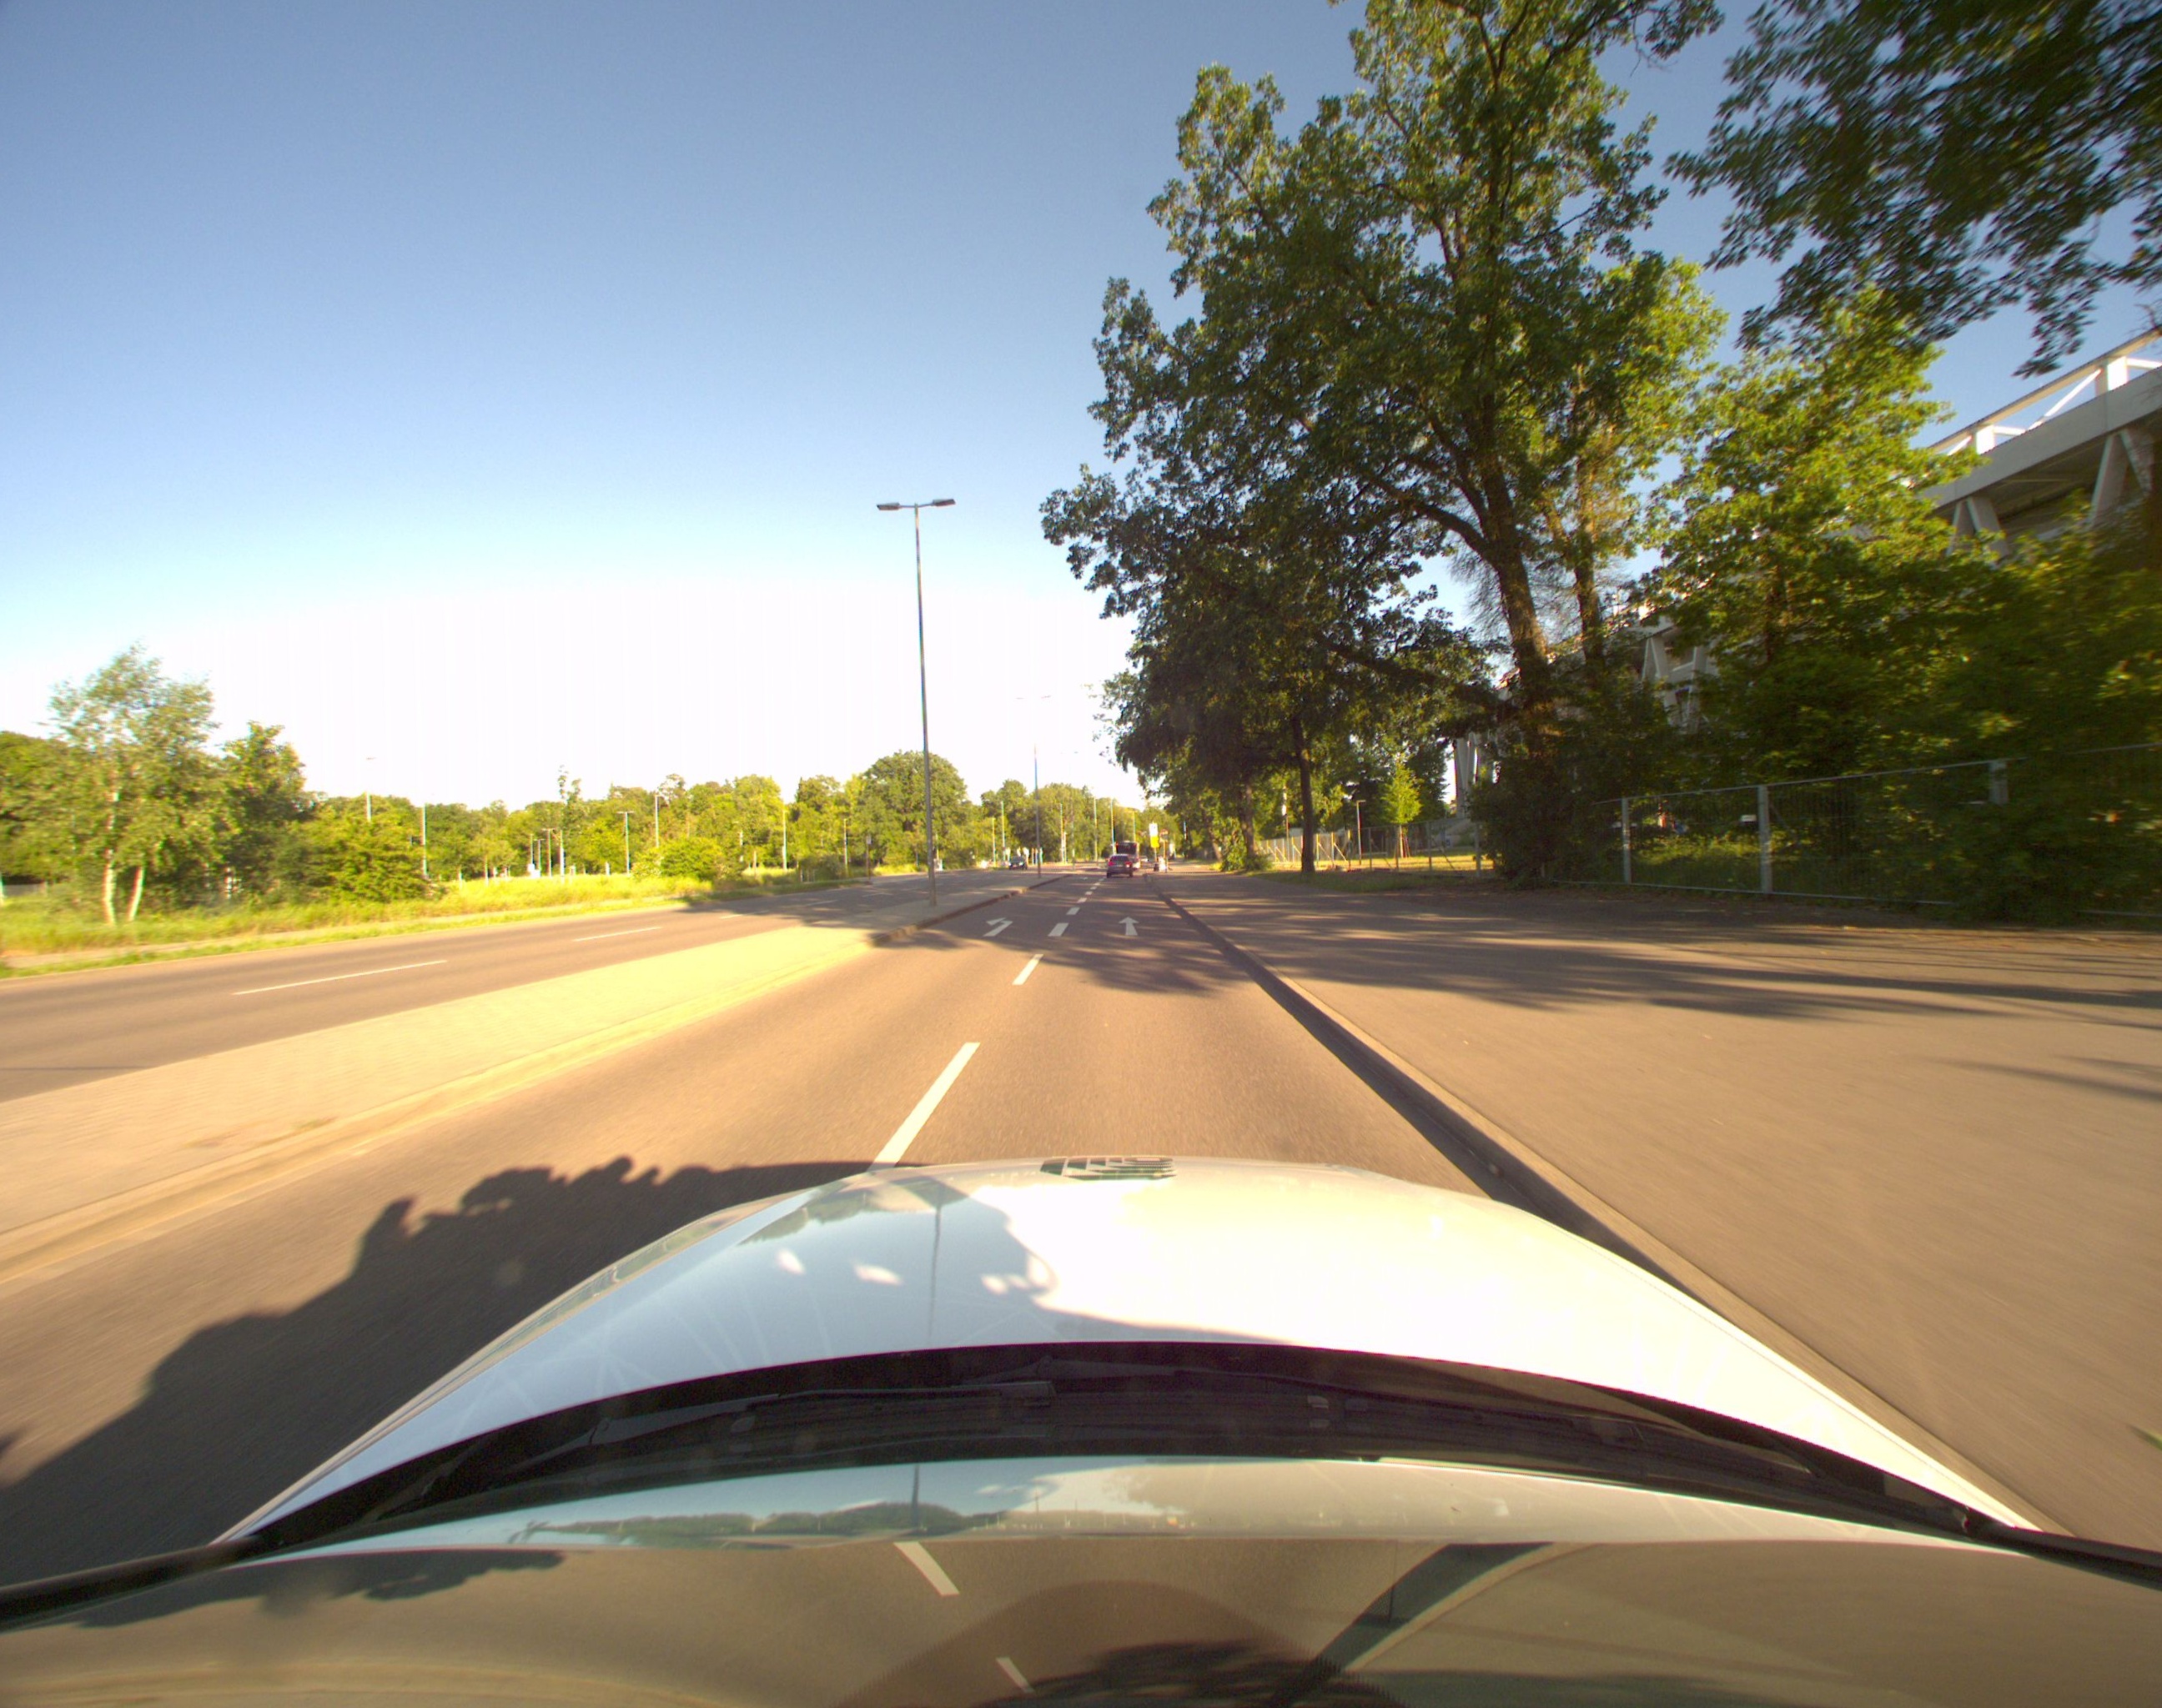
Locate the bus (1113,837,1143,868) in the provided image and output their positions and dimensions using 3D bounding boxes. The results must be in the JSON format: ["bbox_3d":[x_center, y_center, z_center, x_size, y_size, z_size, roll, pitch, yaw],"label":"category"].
[{"bbox_3d":[4.980,-0.116,84.825,2.581,2.989,9.343,-1,-1,6],"label":"bus"}]

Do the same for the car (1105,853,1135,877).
[{"bbox_3d":[2.849,0.753,58.676,1.889,1.632,4.007,0,0,6],"label":"car"}]

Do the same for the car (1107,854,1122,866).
[{"bbox_3d":[4.609,0.802,111.895,1.827,1.518,4.007,-2,0,6],"label":"car"}]

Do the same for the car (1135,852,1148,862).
[{"bbox_3d":[10.113,0.502,135.463,1.901,1.728,4.587,-1,-1,6],"label":"car"}]

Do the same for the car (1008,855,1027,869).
[{"bbox_3d":[-7.941,0.973,101.460,1.776,1.692,4.706,0,0,3],"label":"car"}]
